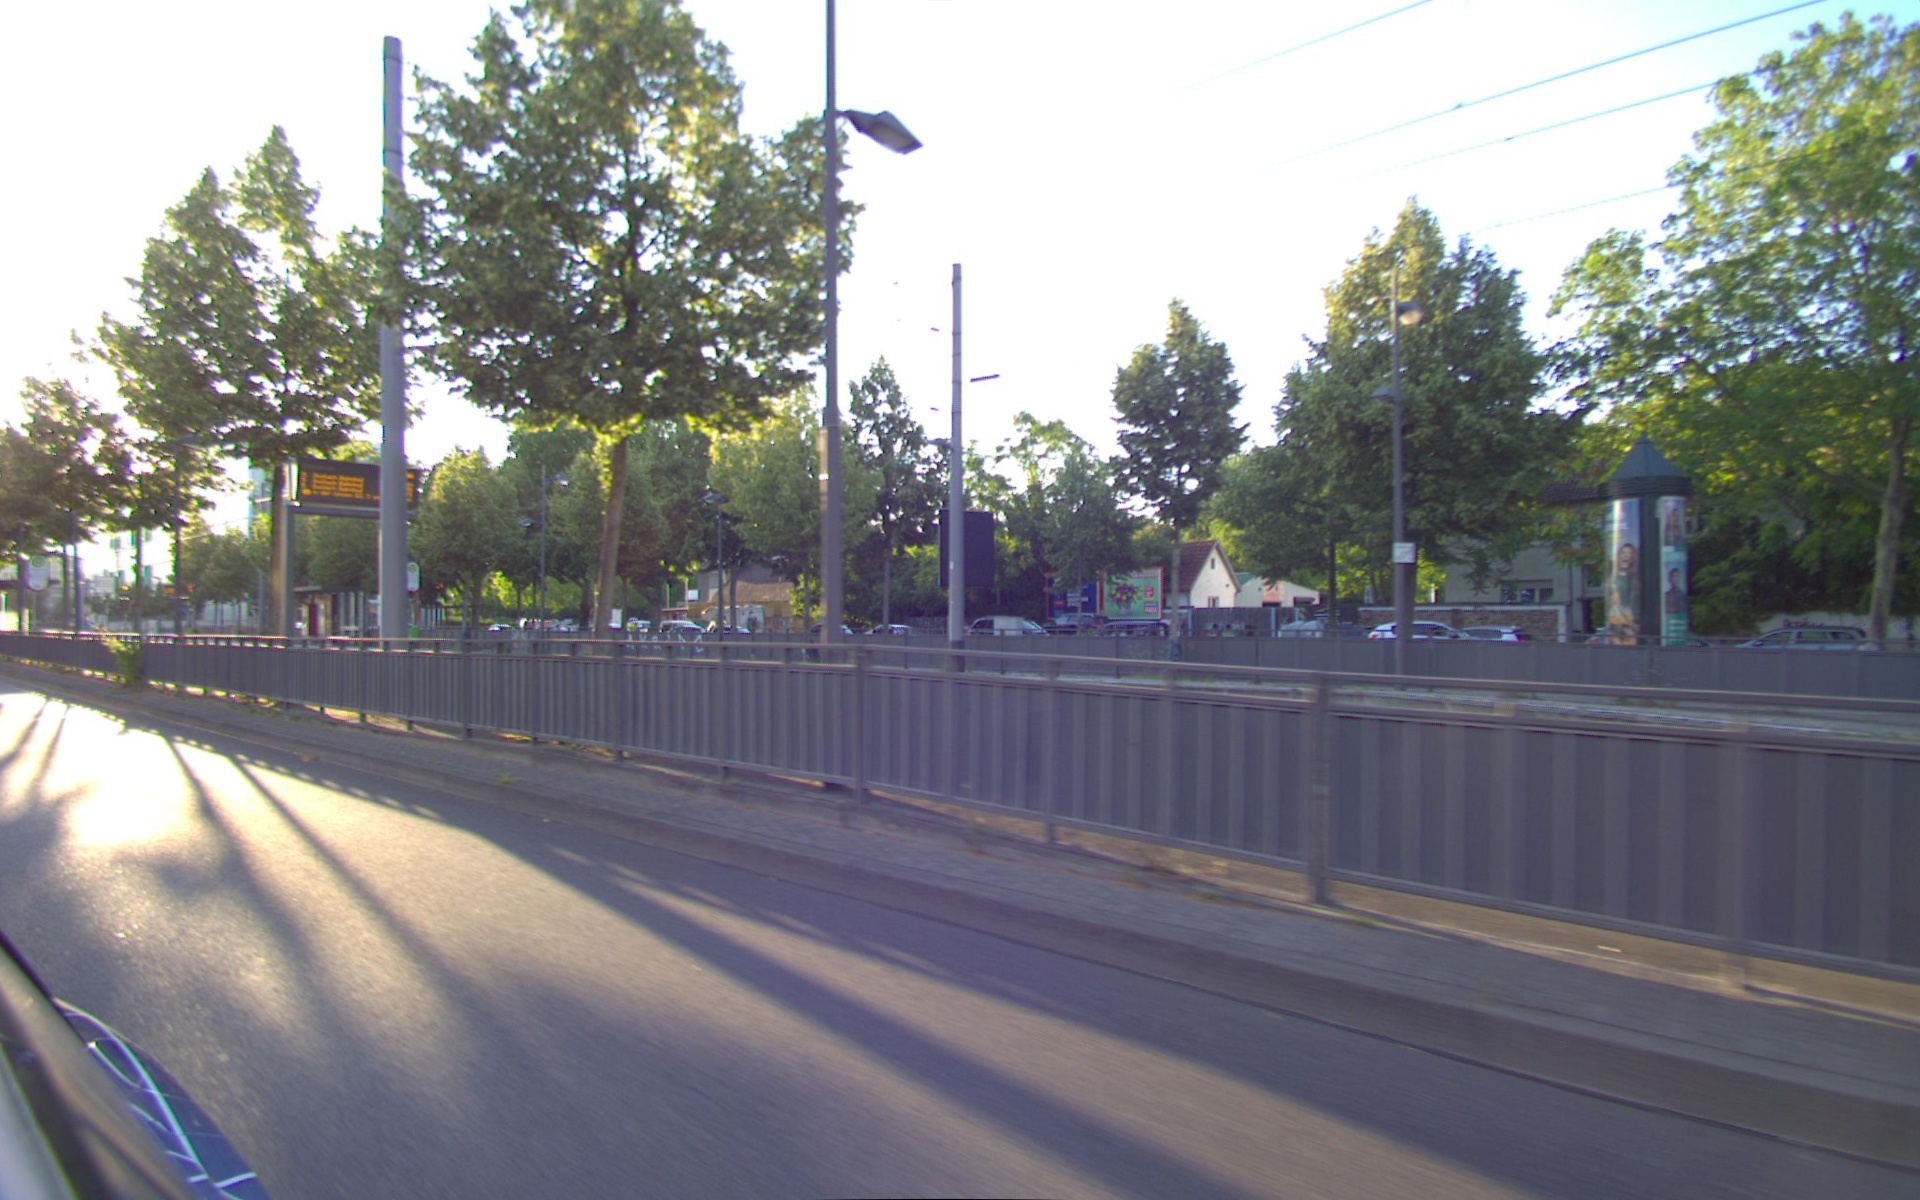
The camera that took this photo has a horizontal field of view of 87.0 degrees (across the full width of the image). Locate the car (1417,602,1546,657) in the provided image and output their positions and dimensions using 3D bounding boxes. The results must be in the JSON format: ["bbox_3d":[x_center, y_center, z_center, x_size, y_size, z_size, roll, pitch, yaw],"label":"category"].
[{"bbox_3d":[20.132,1.139,39.176,1.971,2.029,4.002,1,-2,-45],"label":"car"}]

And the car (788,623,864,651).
[{"bbox_3d":[-7.168,1.981,54.103,4.001,1.418,1.971,-2,-2,44],"label":"car"}]

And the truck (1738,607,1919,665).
[{"bbox_3d":[27.277,1.119,31.789,4.295,1.703,1.971,-2,-2,44],"label":"truck"}]

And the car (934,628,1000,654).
[{"bbox_3d":[0.388,2.391,59.126,3.657,1.459,1.701,-2,-2,42],"label":"car"}]

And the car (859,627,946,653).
[{"bbox_3d":[-2.822,1.923,49.400,4.089,1.210,1.972,-2,-2,43],"label":"car"}]

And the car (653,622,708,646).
[{"bbox_3d":[-19.248,2.326,69.599,1.970,1.541,4.003,1,-2,-44],"label":"car"}]

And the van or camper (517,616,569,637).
[{"bbox_3d":[-44.862,2.839,108.995,4.808,2.029,2.005,-2,0,-36],"label":"van or camper"}]

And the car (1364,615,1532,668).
[{"bbox_3d":[15.009,1.262,31.255,4.298,1.512,1.972,-2,-2,43],"label":"car"}]

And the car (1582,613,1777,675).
[{"bbox_3d":[19.159,1.143,27.046,4.053,1.543,1.790,-2,-2,43],"label":"car"}]

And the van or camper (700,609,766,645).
[{"bbox_3d":[-17.382,2.063,77.267,2.363,2.583,5.638,1,-2,-43],"label":"van or camper"}]

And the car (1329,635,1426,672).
[{"bbox_3d":[17.369,2.185,42.177,3.406,1.441,1.628,-2,-2,43],"label":"car"}]

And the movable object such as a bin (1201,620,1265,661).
[{"bbox_3d":[9.680,1.421,35.895,1.701,1.422,1.393,-2,-2,42],"label":"movable object such as a bin"}]

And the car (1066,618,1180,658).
[{"bbox_3d":[6.396,1.476,39.898,4.000,1.459,1.972,-2,-2,43],"label":"car"}]

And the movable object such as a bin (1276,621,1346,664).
[{"bbox_3d":[11.727,1.404,33.794,1.724,1.383,1.536,-2,-2,42],"label":"movable object such as a bin"}]

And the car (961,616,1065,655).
[{"bbox_3d":[2.271,1.522,44.081,4.297,1.598,1.972,-2,-2,43],"label":"car"}]
